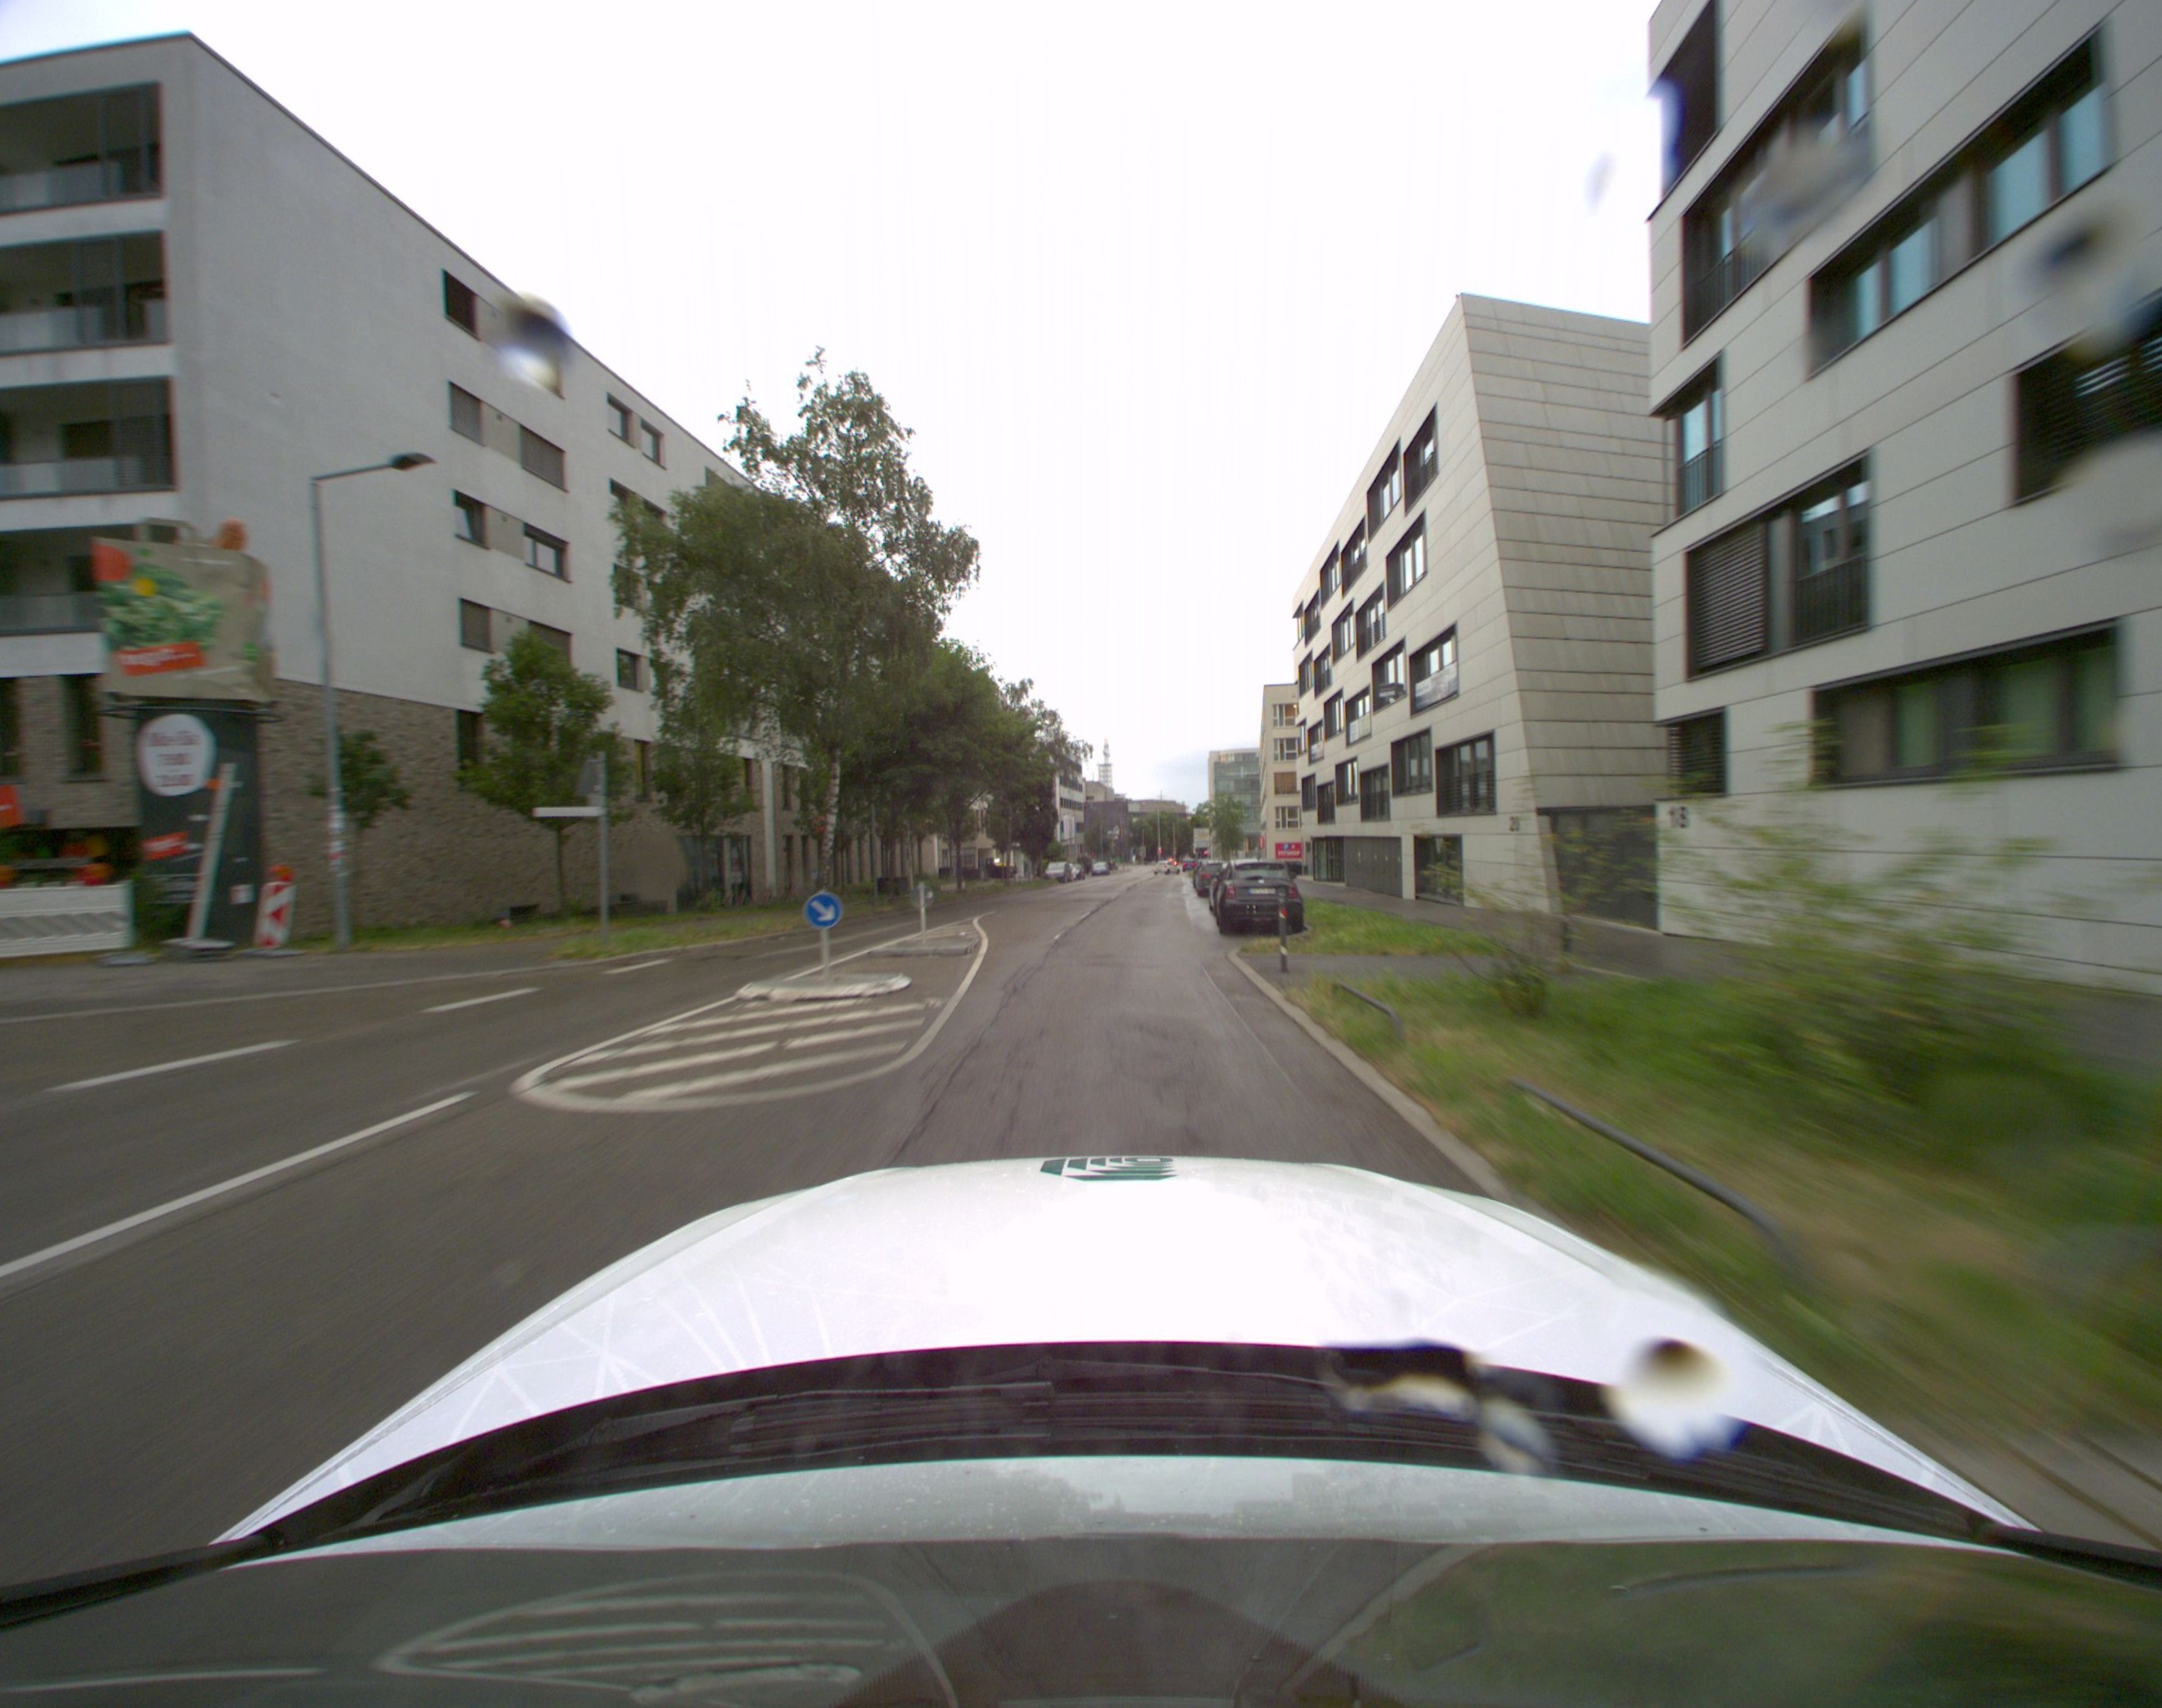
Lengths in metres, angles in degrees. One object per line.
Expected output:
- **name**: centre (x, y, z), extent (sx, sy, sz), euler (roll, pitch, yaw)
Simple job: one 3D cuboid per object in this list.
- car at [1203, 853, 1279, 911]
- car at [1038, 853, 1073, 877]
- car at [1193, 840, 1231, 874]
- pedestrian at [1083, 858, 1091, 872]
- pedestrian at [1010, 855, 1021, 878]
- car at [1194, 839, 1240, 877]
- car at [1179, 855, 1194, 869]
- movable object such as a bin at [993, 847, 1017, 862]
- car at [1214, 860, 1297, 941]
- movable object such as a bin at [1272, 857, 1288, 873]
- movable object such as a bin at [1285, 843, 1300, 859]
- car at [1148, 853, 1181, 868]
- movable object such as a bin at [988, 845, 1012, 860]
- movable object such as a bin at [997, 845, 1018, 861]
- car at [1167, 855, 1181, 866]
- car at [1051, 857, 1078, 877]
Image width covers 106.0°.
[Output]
- **car**: centre (4.429, 0.720, 23.135), extent (1.798, 1.484, 4.504), euler (0, 0, 7)
- **car**: centre (-1.963, 0.844, 64.778), extent (2.067, 1.609, 4.694), euler (-2, 1, 6)
- **car**: centre (6.575, 0.148, 41.347), extent (1.739, 1.605, 4.382), euler (0, 0, 7)
- **pedestrian**: centre (0.706, 1.336, 99.773), extent (0.730, 1.708, 0.897), euler (-1, -1, -20)
- **pedestrian**: centre (-5.059, 0.954, 63.196), extent (0.705, 1.683, 0.957), euler (-1, 1, 3)
- **car**: centre (5.962, 0.172, 36.141), extent (1.798, 1.563, 4.856), euler (0, 0, 7)
- **car**: centre (14.281, 1.041, 109.879), extent (1.983, 1.749, 3.681), euler (-1, 1, 7)
- **movable object such as a bin**: centre (-7.258, -0.001, 77.711), extent (2.045, 1.423, 1.318), euler (0, 1, 3)
- **car**: centre (3.745, 0.936, 17.921), extent (1.537, 1.478, 3.669), euler (-1, 1, 8)
- **movable object such as a bin**: centre (18.052, 0.990, 73.947), extent (1.227, 1.320, 1.195), euler (-2, 0, 9)
- **movable object such as a bin**: centre (19.408, -0.284, 74.653), extent (1.253, 1.402, 1.115), euler (-1, 1, 9)
- **car**: centre (9.165, 0.683, 89.256), extent (1.974, 1.576, 4.022), euler (0, 1, 34)
- **movable object such as a bin**: centre (-7.624, -0.147, 76.369), extent (2.018, 1.429, 1.291), euler (1, 1, 3)
- **movable object such as a bin**: centre (-7.157, -0.124, 79.202), extent (1.787, 1.510, 1.483), euler (-3, 0, 4)
- **car**: centre (15.366, 1.109, 134.600), extent (2.130, 1.728, 4.007), euler (0, 0, 6)
- **car**: centre (-1.365, 1.103, 70.164), extent (1.764, 1.600, 4.040), euler (-1, 1, 7)
